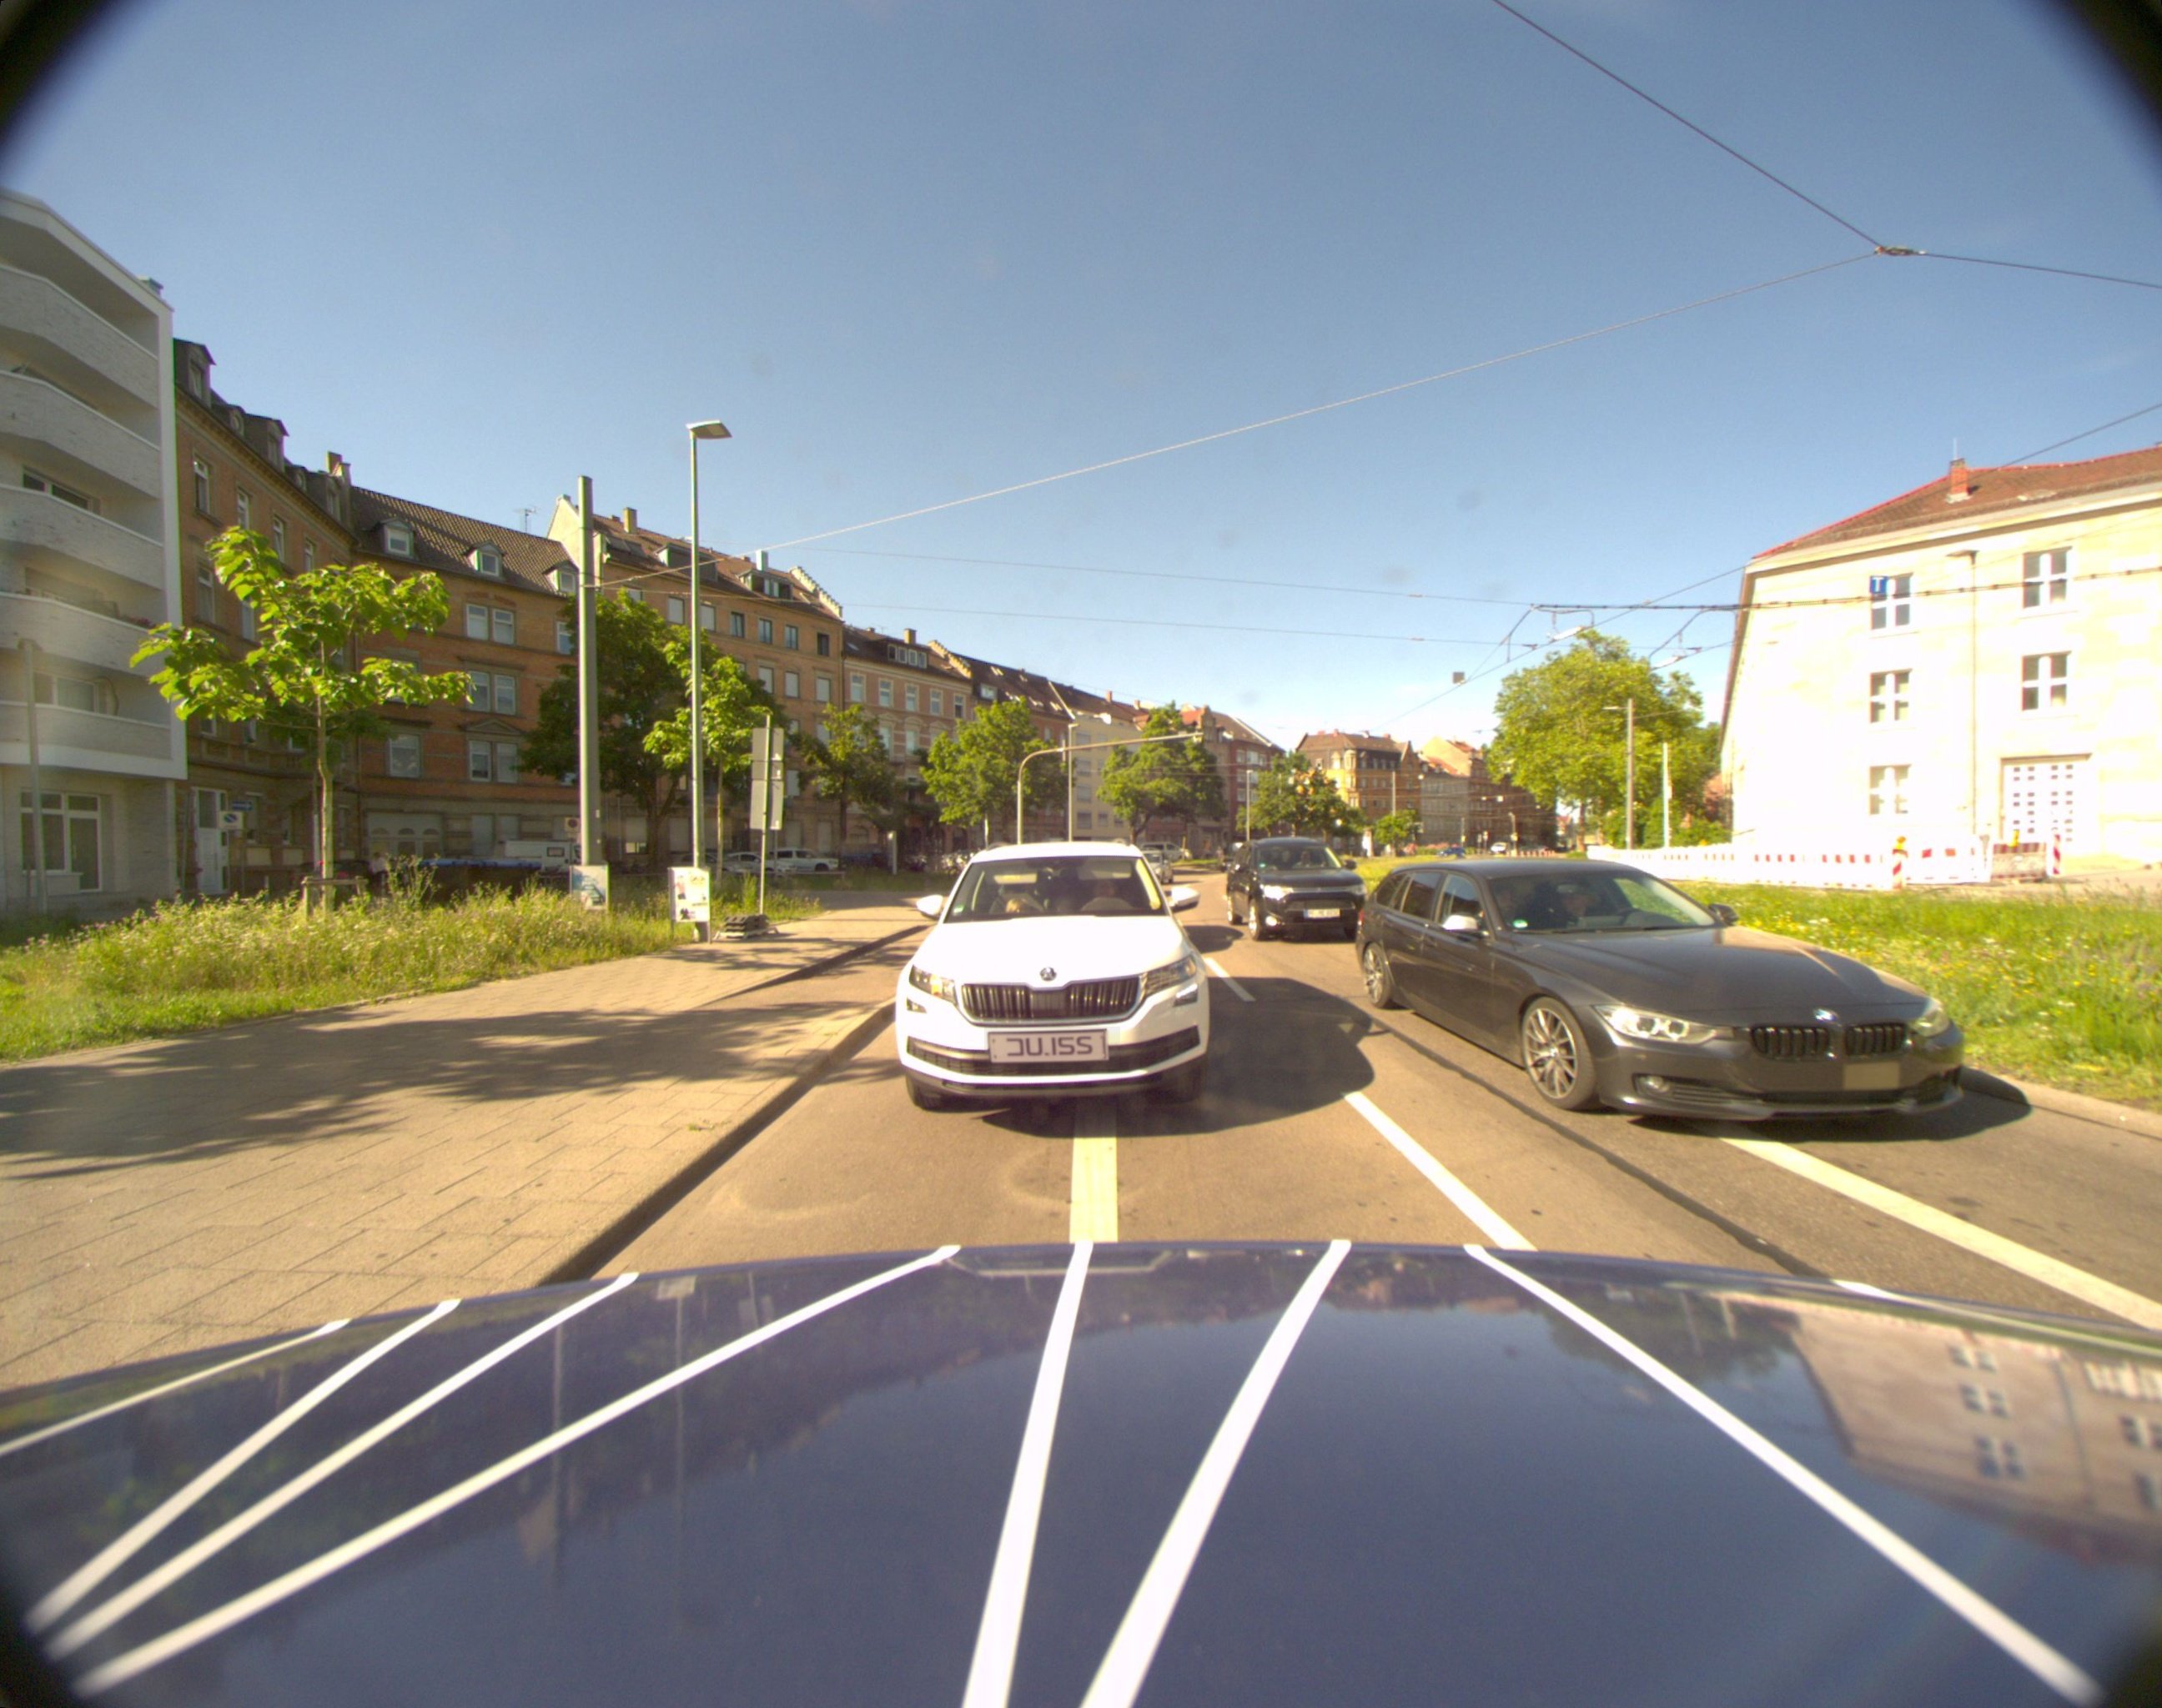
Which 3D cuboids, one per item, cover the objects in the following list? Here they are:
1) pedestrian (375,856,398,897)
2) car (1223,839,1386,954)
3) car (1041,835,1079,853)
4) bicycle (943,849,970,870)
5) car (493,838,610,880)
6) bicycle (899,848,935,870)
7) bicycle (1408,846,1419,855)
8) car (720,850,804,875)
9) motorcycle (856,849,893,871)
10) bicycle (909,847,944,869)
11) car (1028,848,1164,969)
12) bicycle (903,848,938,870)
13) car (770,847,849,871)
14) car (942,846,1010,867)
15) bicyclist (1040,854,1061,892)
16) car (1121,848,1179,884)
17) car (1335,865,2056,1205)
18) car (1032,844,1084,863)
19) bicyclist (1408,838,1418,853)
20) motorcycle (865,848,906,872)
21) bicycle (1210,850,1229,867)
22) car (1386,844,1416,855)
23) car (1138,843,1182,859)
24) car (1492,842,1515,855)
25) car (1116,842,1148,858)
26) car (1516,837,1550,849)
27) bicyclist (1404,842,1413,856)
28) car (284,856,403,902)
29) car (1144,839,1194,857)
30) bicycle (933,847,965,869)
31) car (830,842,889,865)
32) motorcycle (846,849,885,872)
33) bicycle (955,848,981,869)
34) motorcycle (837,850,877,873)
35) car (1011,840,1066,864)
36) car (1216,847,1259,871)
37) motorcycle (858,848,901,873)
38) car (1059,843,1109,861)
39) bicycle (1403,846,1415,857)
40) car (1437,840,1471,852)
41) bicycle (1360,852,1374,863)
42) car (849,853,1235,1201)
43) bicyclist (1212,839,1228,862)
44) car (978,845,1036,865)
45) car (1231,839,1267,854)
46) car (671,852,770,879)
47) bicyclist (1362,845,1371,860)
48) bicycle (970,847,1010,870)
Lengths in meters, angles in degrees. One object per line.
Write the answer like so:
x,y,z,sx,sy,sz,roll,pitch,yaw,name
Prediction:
-25.006,0.812,27.368,0.509,1.448,0.481,-3,2,-38,pedestrian
3.697,0.621,13.399,1.841,1.636,4.399,-2,0,5,car
-1.940,-0.952,71.666,1.547,1.578,3.607,1,2,41,car
-7.685,0.333,46.761,0.664,1.260,2.199,-3,1,-36,bicycle
-27.118,0.210,39.010,2.047,2.026,4.510,1,2,41,car
-9.743,0.299,45.071,2.198,1.260,0.664,-2,1,30,bicycle
43.946,-0.520,100.411,0.762,1.138,2.287,0,1,38,bicycle
-16.407,0.433,39.106,3.696,1.244,1.683,0,1,13,car
-12.602,0.394,46.405,2.199,1.260,0.664,-2,1,24,motorcycle
-9.510,0.271,46.712,2.198,1.260,0.664,-2,1,32,bicycle
0.238,0.757,12.830,1.842,1.636,4.397,-2,0,1,car
-9.707,0.287,46.009,2.198,1.260,0.664,-2,1,32,bicycle
-14.681,0.248,41.195,3.700,1.244,1.540,0,1,2,car
-7.043,0.167,51.296,4.322,1.398,1.682,0,1,3,car
-1.160,0.708,29.146,0.668,1.428,0.940,-1,1,3,bicyclist
3.308,0.515,35.836,1.837,1.543,4.153,0,1,18,car
3.479,0.845,5.595,1.741,1.359,4.426,-2,0,1,car
-1.776,-0.063,58.713,3.823,1.398,1.600,0,1,6,car
43.915,-1.133,100.458,0.847,2.002,1.199,0,1,40,bicyclist
-11.148,0.350,43.294,2.200,1.315,0.664,-2,1,18,motorcycle
10.770,0.351,58.983,0.714,1.319,1.753,1,1,39,bicycle
49.757,-0.773,118.242,4.058,1.647,1.770,1,2,36,car
7.126,-0.258,68.180,3.823,1.372,1.600,0,1,9,car
67.339,-0.866,120.963,1.977,2.074,4.723,1,2,44,car
5.468,-0.433,80.729,1.547,1.578,3.607,1,2,41,car
64.092,-1.539,107.844,4.058,1.647,1.770,1,2,34,car
41.725,-0.650,96.695,0.734,1.685,0.973,0,1,44,bicyclist
-26.168,0.823,27.149,1.835,1.419,4.378,-1,1,-27,car
8.198,-0.598,70.610,4.578,1.658,1.600,0,1,7,car
-7.729,0.232,44.519,0.664,1.260,2.198,-3,1,-45,bicycle
-15.610,-0.065,53.672,1.547,1.578,3.709,1,2,41,car
-12.940,0.407,45.625,2.314,1.276,0.664,-2,1,24,motorcycle
-7.123,0.300,47.754,0.664,1.260,2.199,-3,1,-36,bicycle
-13.289,0.431,45.020,2.314,1.270,0.664,-2,1,24,motorcycle
-3.108,-0.145,56.105,3.825,1.698,1.682,0,1,3,car
11.331,0.302,54.918,1.836,1.637,4.156,1,1,30,car
-11.178,0.367,42.208,2.200,1.322,0.663,-2,1,13,motorcycle
0.260,-0.169,61.165,3.823,1.398,1.600,0,1,6,car
41.749,-0.326,96.681,0.735,1.353,2.079,0,1,44,bicycle
57.197,-1.191,116.528,4.346,1.871,1.840,0,1,1,car
32.097,0.416,85.312,0.667,1.190,2.159,0,1,44,bicycle
-0.227,0.850,5.951,1.842,1.636,4.397,-2,0,-1,car
10.783,-0.262,58.991,0.714,1.715,1.096,1,1,40,bicyclist
-5.227,0.078,53.966,3.822,1.398,1.683,0,1,9,car
18.694,-0.831,84.660,3.823,1.581,1.600,0,1,6,car
-17.500,0.526,36.907,4.156,1.244,1.683,0,1,13,car
32.006,-0.190,85.215,0.667,1.619,0.973,0,1,45,bicyclist
-5.476,0.260,45.740,2.207,1.260,0.662,-3,1,-25,bicycle
